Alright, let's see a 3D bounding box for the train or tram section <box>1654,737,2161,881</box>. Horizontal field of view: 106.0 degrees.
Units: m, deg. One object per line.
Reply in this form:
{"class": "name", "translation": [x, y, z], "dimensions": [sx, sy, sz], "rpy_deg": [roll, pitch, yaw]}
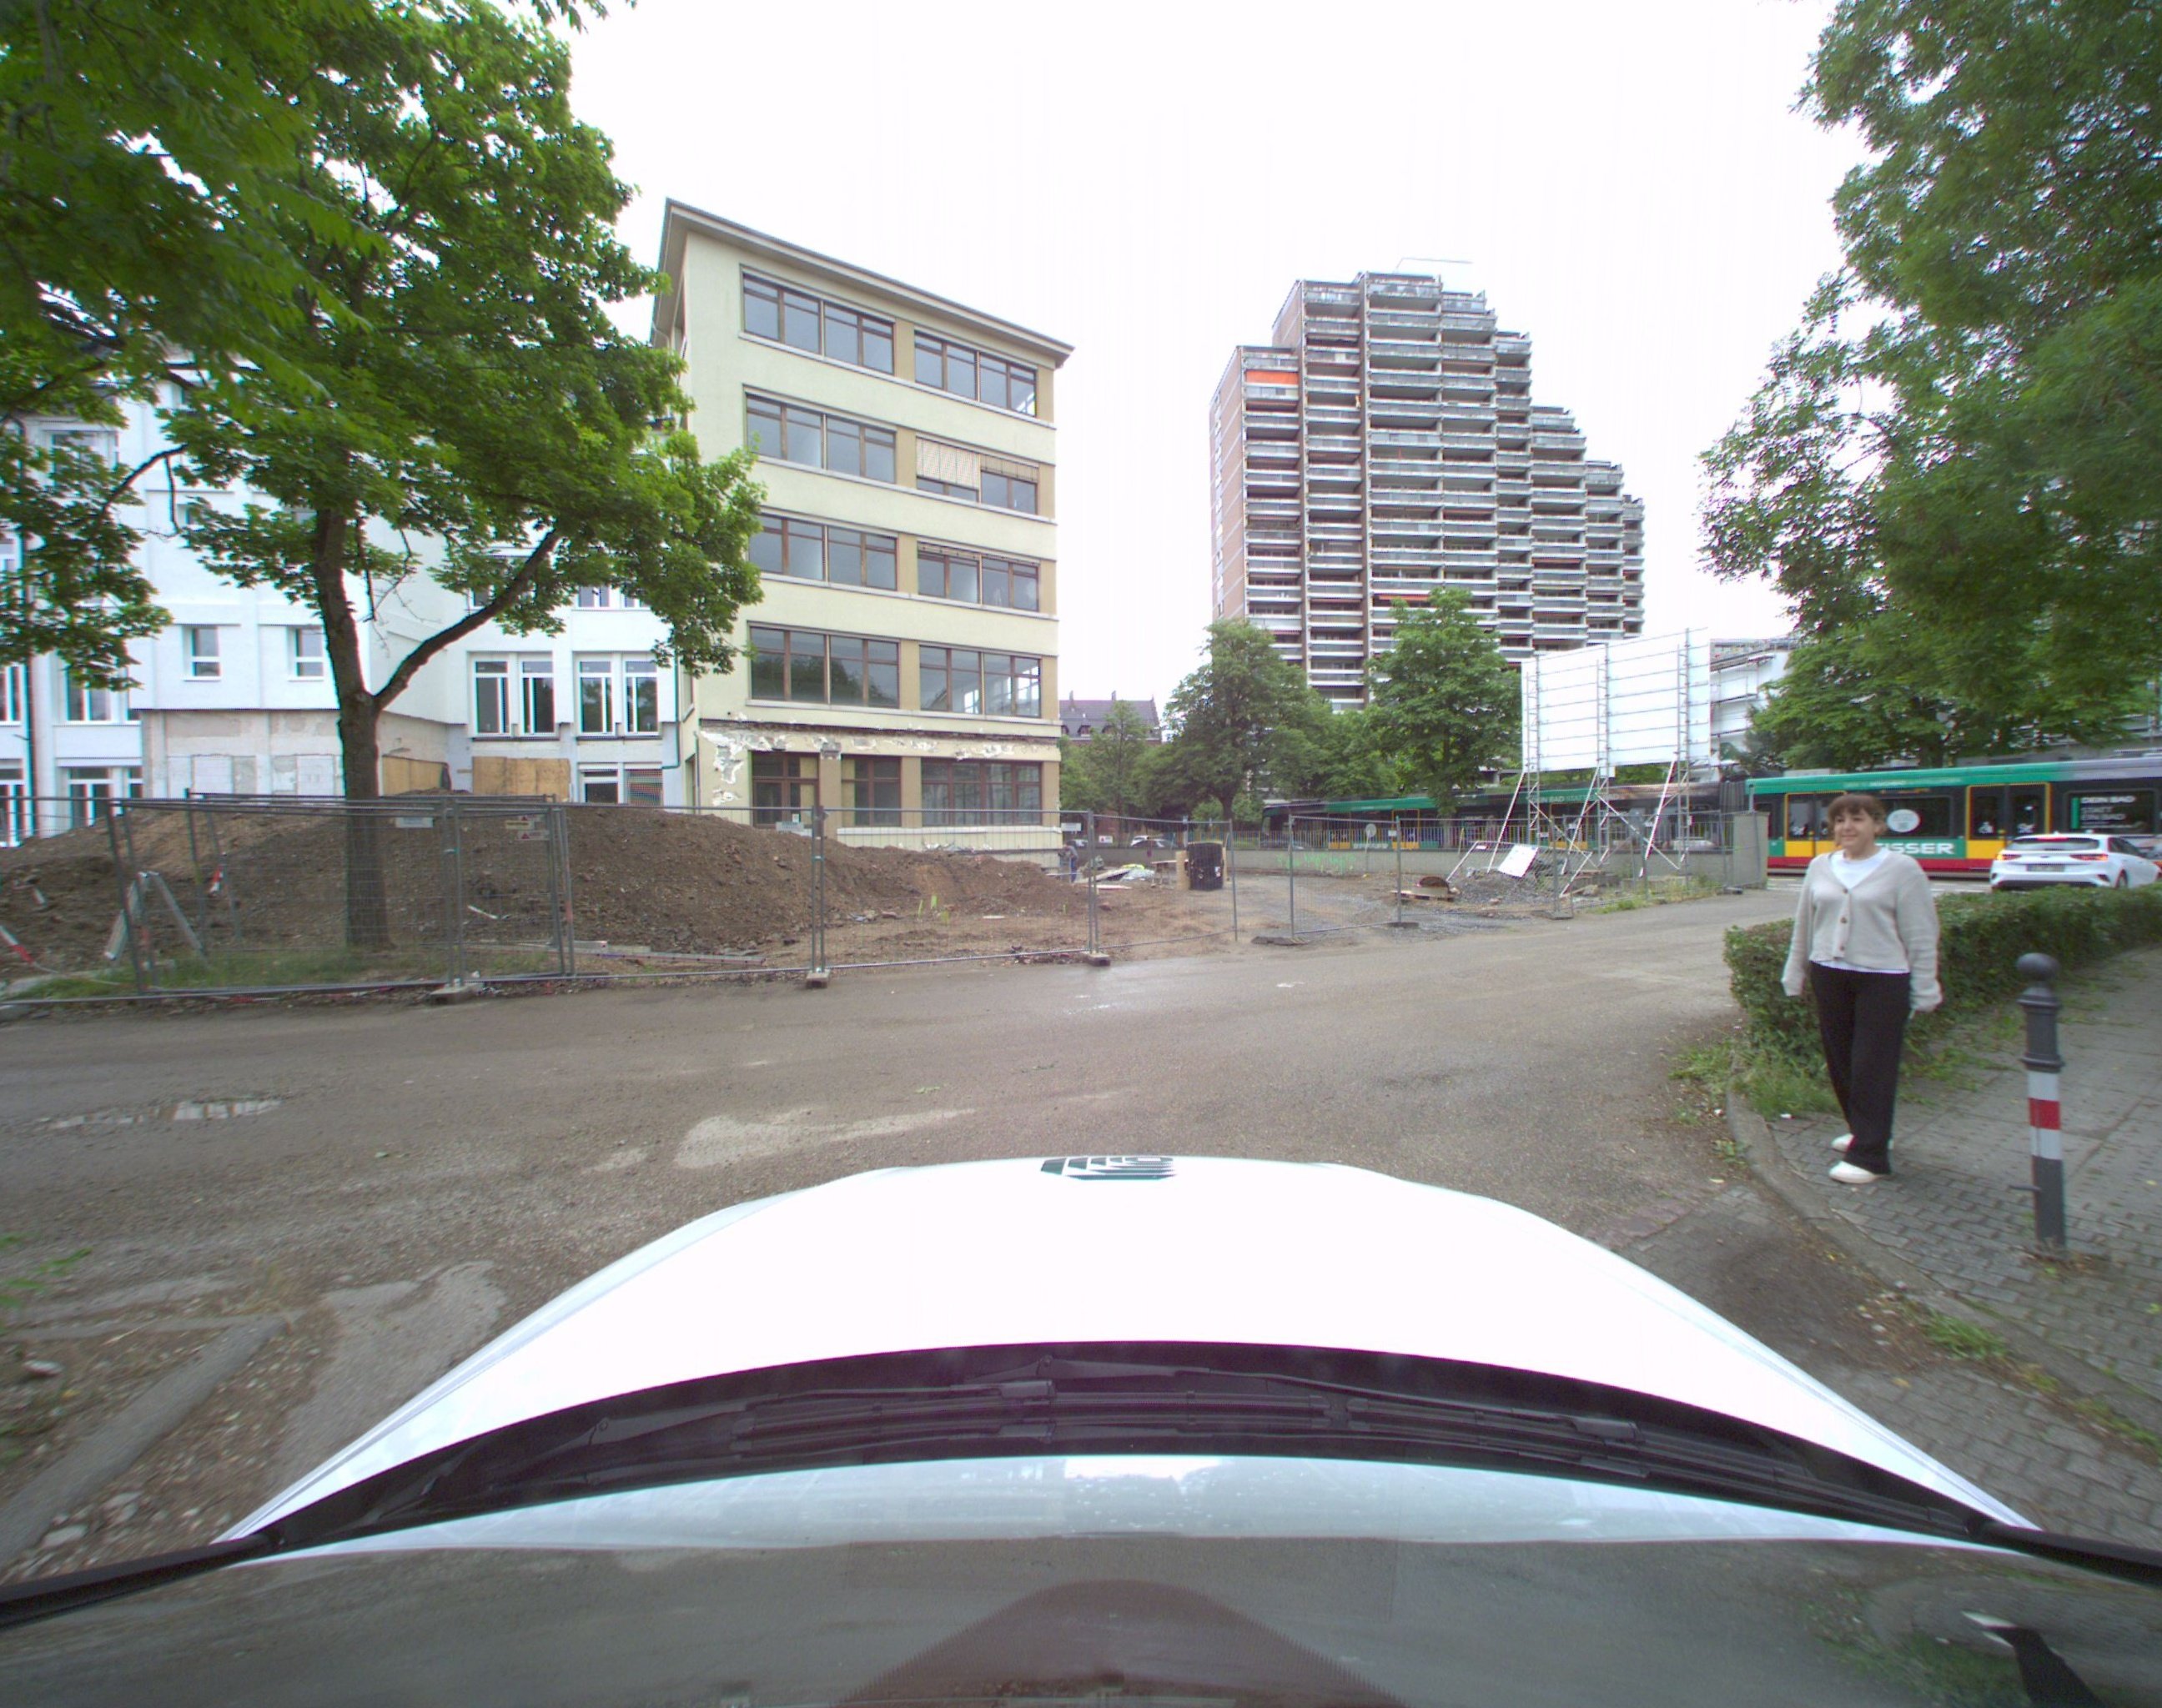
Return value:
{"class": "train or tram section", "translation": [26.114, -1.177, 24.549], "dimensions": [2.677, 3.614, 14.624], "rpy_deg": [-1, 1, -31]}

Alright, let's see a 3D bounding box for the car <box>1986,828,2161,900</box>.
{"class": "car", "translation": [21.943, 0.232, 17.910], "dimensions": [3.987, 1.432, 1.766], "rpy_deg": [1, -1, -27]}

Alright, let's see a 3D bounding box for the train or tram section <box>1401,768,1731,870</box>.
{"class": "train or tram section", "translation": [19.832, -1.292, 34.845], "dimensions": [2.677, 3.614, 12.334], "rpy_deg": [-1, 1, -31]}

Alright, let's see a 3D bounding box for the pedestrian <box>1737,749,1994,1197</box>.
{"class": "pedestrian", "translation": [3.505, 0.469, 3.718], "dimensions": [0.742, 1.781, 0.667], "rpy_deg": [-1, 1, 35]}

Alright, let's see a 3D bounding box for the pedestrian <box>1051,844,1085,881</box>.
{"class": "pedestrian", "translation": [-0.521, 0.314, 32.259], "dimensions": [0.987, 1.437, 0.921], "rpy_deg": [-1, 0, -35]}

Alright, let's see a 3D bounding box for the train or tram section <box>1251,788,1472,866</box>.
{"class": "train or tram section", "translation": [14.424, -1.319, 43.683], "dimensions": [2.677, 3.614, 12.334], "rpy_deg": [-1, 1, -31]}
